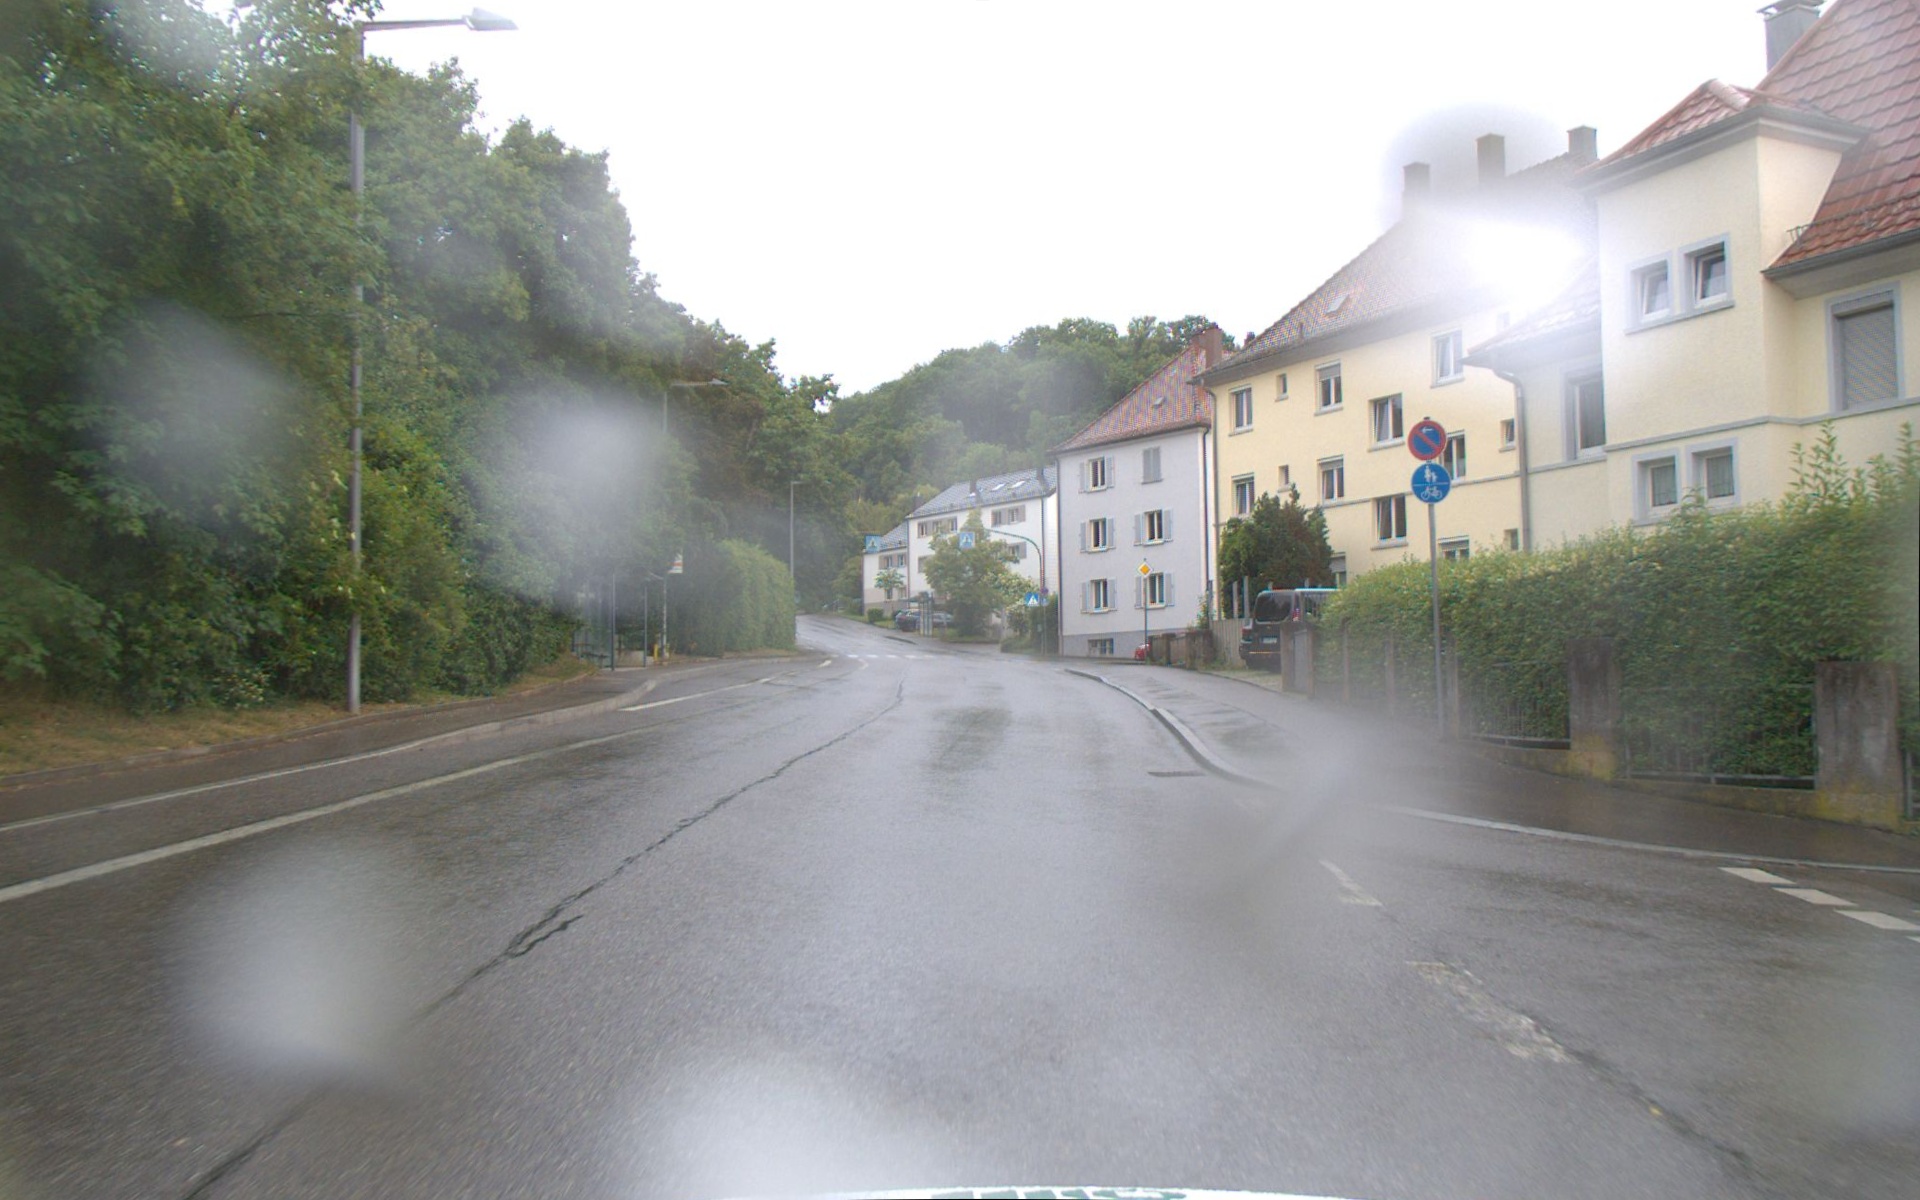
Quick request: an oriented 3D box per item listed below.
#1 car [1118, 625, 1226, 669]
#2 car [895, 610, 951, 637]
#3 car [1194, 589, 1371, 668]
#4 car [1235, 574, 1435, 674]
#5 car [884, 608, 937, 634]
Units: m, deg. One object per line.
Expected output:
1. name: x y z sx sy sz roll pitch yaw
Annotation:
1. car: 8.711 1.952 68.014 3.926 1.646 1.989 3 -3 -19
2. car: -2.781 1.777 123.910 3.914 1.803 1.995 2 -3 -10
3. car: 8.155 0.758 41.871 3.926 1.803 1.989 3 -3 -19
4. car: 8.411 0.579 37.169 3.926 2.049 1.989 3 -3 -19
5. car: -3.882 1.656 130.395 3.914 1.803 1.995 2 -3 -10
